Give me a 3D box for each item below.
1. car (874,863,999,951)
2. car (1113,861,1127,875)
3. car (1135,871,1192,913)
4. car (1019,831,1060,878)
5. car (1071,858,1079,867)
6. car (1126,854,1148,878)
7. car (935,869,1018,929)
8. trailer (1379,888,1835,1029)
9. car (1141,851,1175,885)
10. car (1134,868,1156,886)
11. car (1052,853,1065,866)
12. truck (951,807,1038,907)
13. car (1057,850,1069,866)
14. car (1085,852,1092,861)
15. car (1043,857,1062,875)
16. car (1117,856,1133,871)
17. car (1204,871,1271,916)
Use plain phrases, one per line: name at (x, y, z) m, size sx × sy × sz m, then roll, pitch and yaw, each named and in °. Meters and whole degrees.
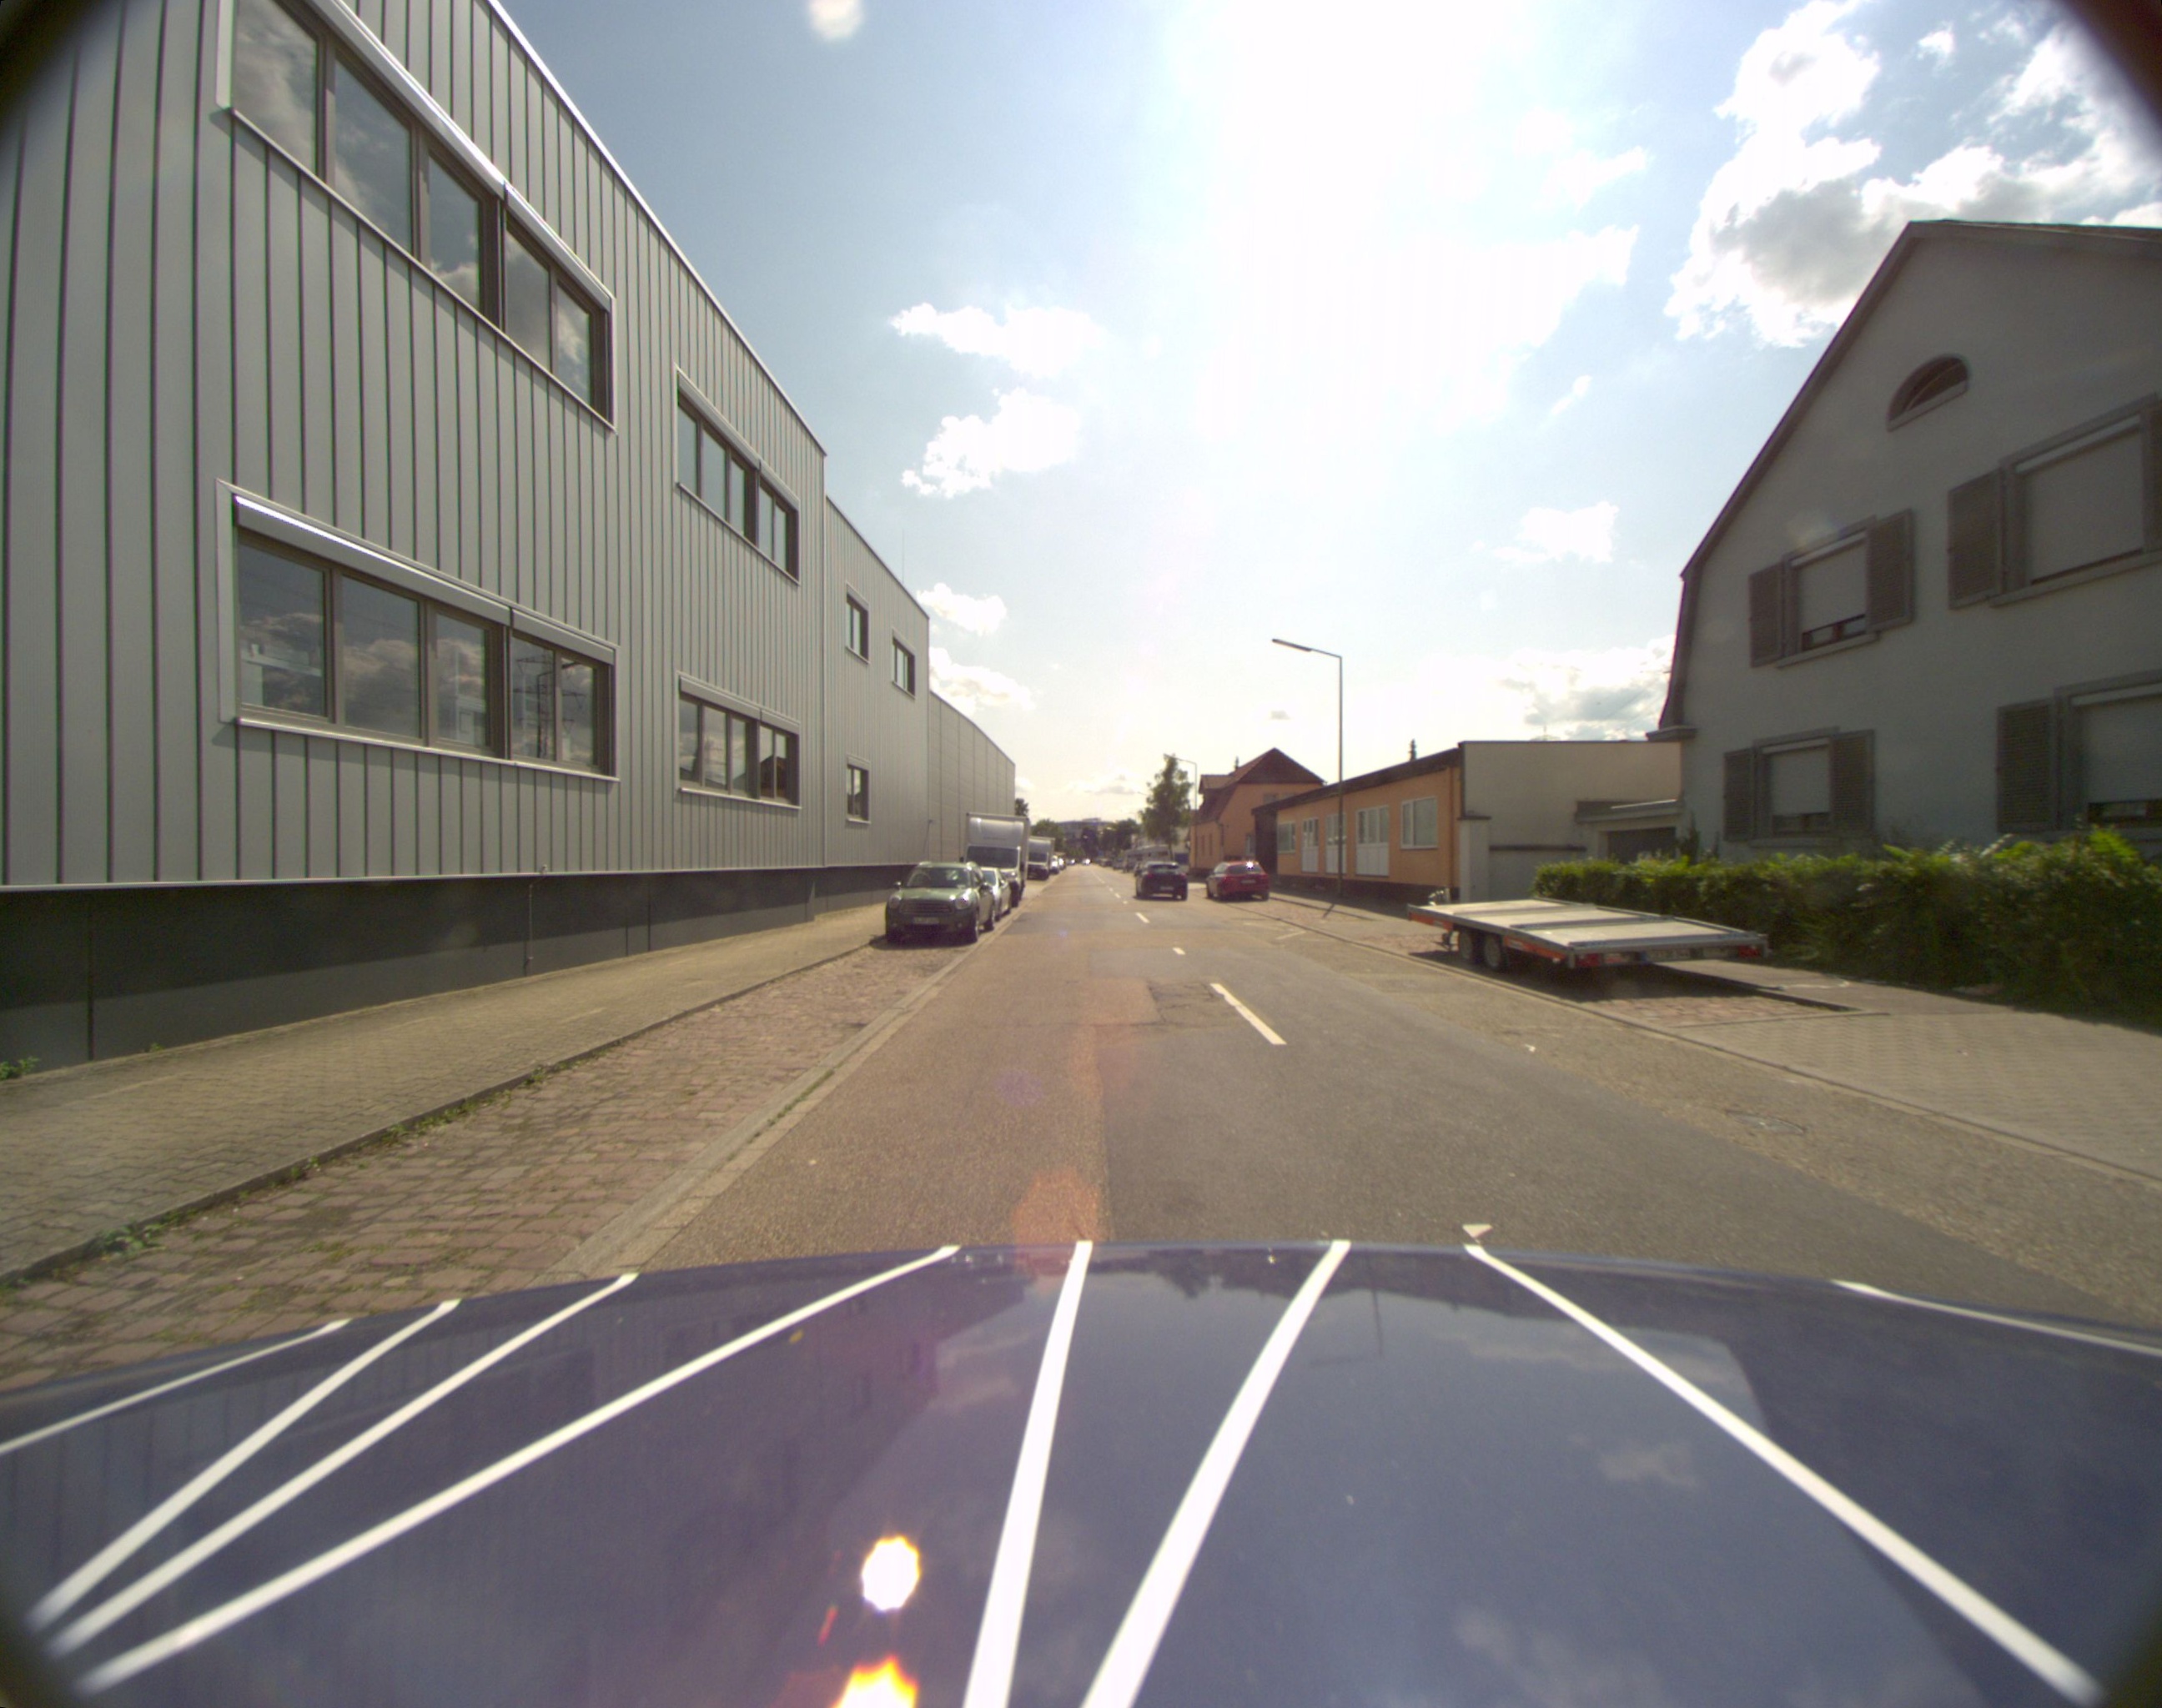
car at (-2.838, 0.979, 15.837) m, size 1.714 × 1.502 × 4.115 m, roll -2°, pitch 0°, yaw 0°
car at (5.268, 1.857, 103.299) m, size 1.658 × 1.860 × 3.927 m, roll -2°, pitch 0°, yaw 0°
car at (3.145, 1.421, 29.582) m, size 1.739 × 1.433 × 4.000 m, roll 1°, pitch 0°, yaw 0°
car at (-3.173, 0.072, 59.680) m, size 2.418 × 3.269 × 6.898 m, roll 6°, pitch 0°, yaw 1°
car at (-1.490, 2.205, 193.943) m, size 1.828 × 2.082 × 4.110 m, roll -2°, pitch 0°, yaw 0°
car at (6.467, 1.359, 88.093) m, size 1.998 × 2.556 × 5.824 m, roll -2°, pitch 0°, yaw 0°
car at (-2.879, 1.201, 21.837) m, size 1.714 × 1.425 × 4.257 m, roll -2°, pitch 0°, yaw 0°
trailer at (6.607, 1.222, 10.866) m, size 2.457 × 1.157 × 6.054 m, roll -2°, pitch 0°, yaw 2°
car at (6.142, 1.117, 61.215) m, size 2.079 × 2.527 × 5.824 m, roll -2°, pitch 0°, yaw 0°
car at (5.779, 2.026, 68.510) m, size 1.658 × 1.482 × 3.716 m, roll -2°, pitch 0°, yaw 0°
car at (-3.079, 0.751, 103.906) m, size 1.658 × 1.765 × 3.927 m, roll -2°, pitch 0°, yaw 0°
truck at (-3.107, 0.125, 29.362) m, size 2.607 × 3.206 × 8.076 m, roll -2°, pitch 0°, yaw -2°
car at (-2.901, 0.633, 122.274) m, size 1.828 × 2.365 × 4.110 m, roll -2°, pitch 0°, yaw 0°
car at (1.885, 0.564, 189.448) m, size 1.828 × 2.110 × 4.110 m, roll -2°, pitch 0°, yaw 0°
car at (-2.832, 1.197, 76.845) m, size 1.658 × 1.765 × 3.927 m, roll -2°, pitch 0°, yaw 0°
car at (6.368, 1.341, 110.756) m, size 1.998 × 2.002 × 4.000 m, roll -2°, pitch 0°, yaw 0°
car at (5.990, 1.471, 29.650) m, size 1.714 × 1.459 × 4.630 m, roll -2°, pitch 0°, yaw 1°
